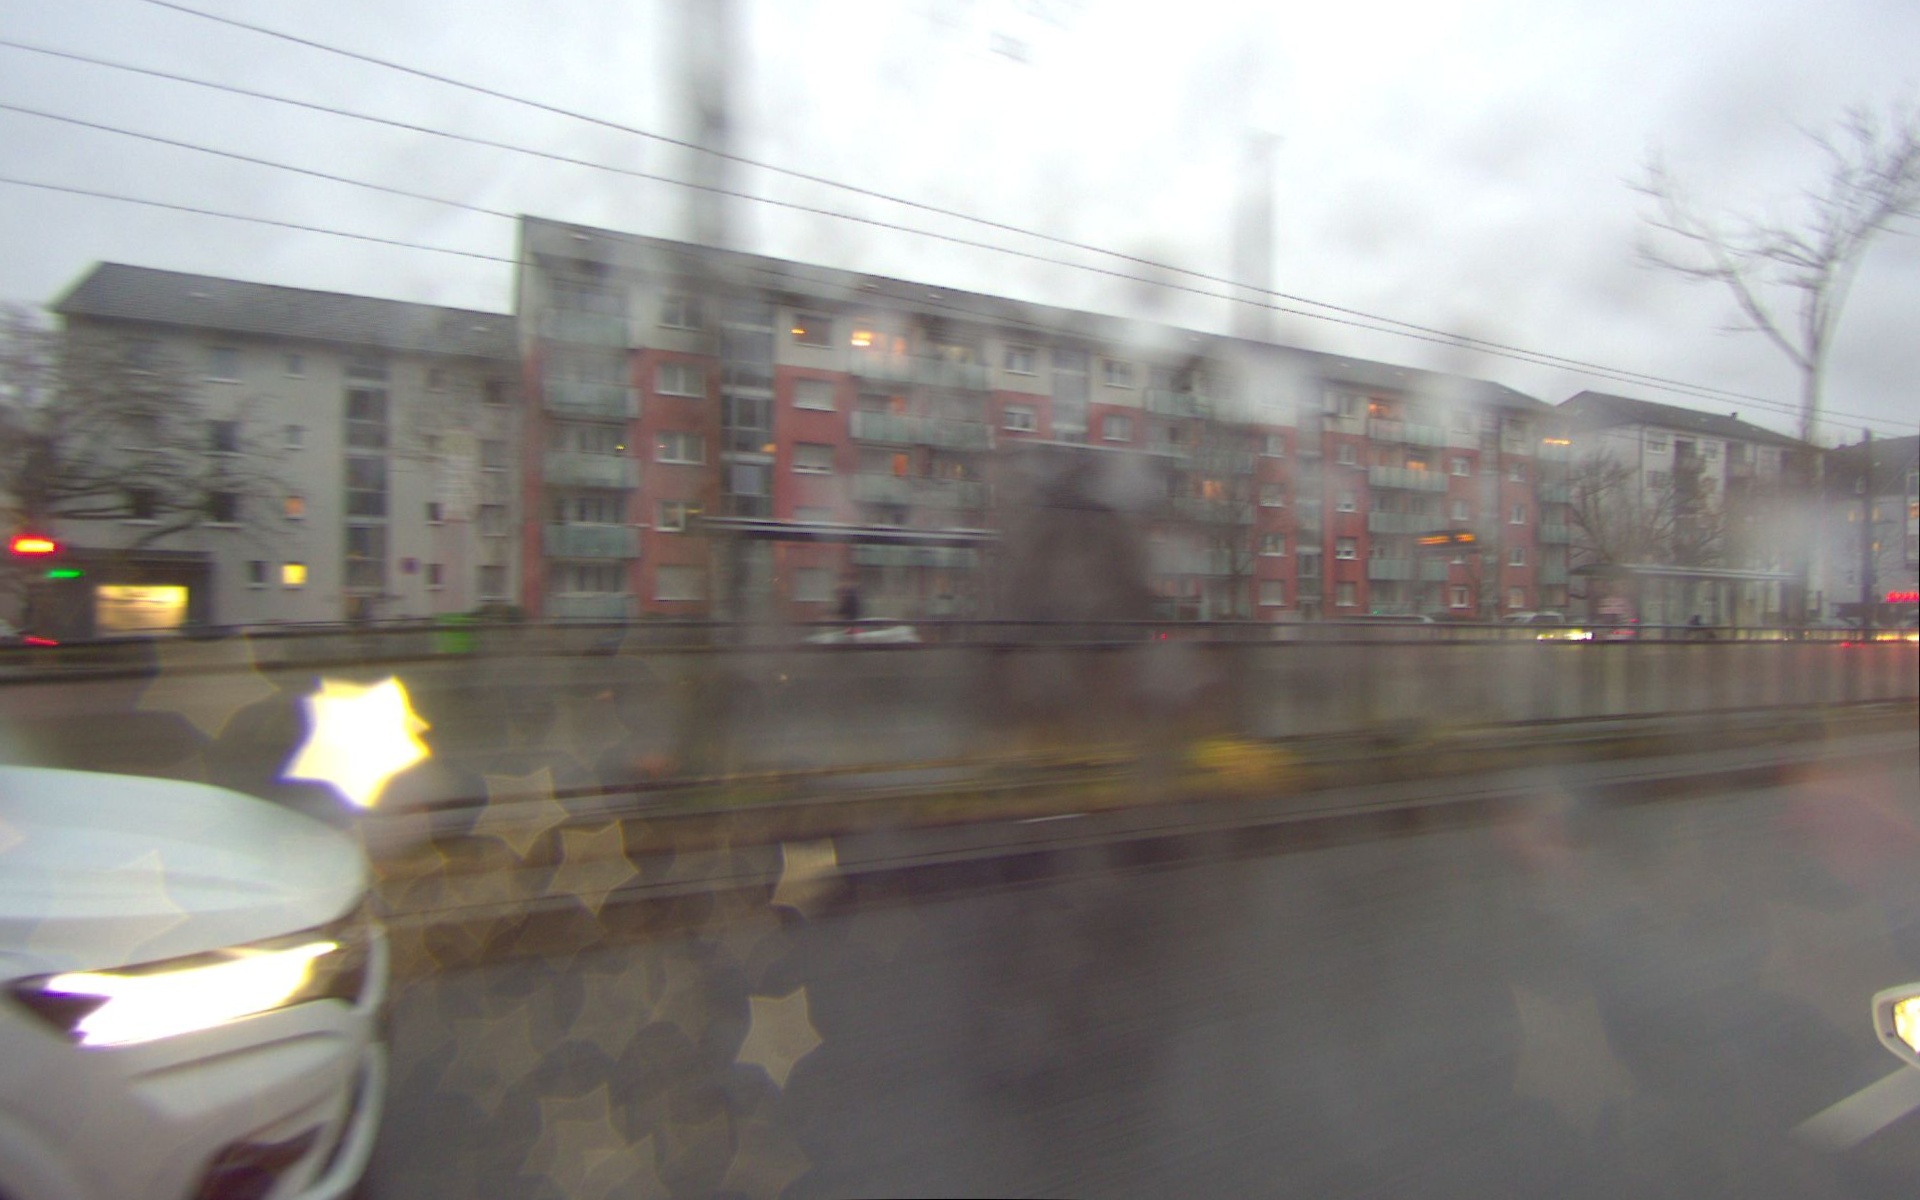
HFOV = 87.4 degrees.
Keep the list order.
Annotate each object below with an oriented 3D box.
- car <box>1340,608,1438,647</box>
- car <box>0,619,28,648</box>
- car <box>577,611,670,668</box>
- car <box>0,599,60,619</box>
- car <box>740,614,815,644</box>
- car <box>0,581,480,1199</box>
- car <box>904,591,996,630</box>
[{"bbox_3d":[18.547,1.177,43.392,4.099,1.564,1.717,2,0,-28],"label":"car"},{"bbox_3d":[-51.856,1.779,53.078,1.532,1.456,3.538,2,0,34],"label":"car"},{"bbox_3d":[-9.952,1.108,29.512,1.693,1.435,3.964,2,0,-32],"label":"car"},{"bbox_3d":[-72.790,0.682,78.568,3.378,1.456,1.417,2,0,-33],"label":"car"},{"bbox_3d":[-7.579,1.206,41.692,2.814,1.115,1.258,2,0,-25],"label":"car"},{"bbox_3d":[-3.037,0.682,1.618,3.953,1.485,1.700,2,0,-31],"label":"car"},{"bbox_3d":[-0.425,0.436,42.037,3.455,1.516,1.705,2,0,-25],"label":"car"}]
